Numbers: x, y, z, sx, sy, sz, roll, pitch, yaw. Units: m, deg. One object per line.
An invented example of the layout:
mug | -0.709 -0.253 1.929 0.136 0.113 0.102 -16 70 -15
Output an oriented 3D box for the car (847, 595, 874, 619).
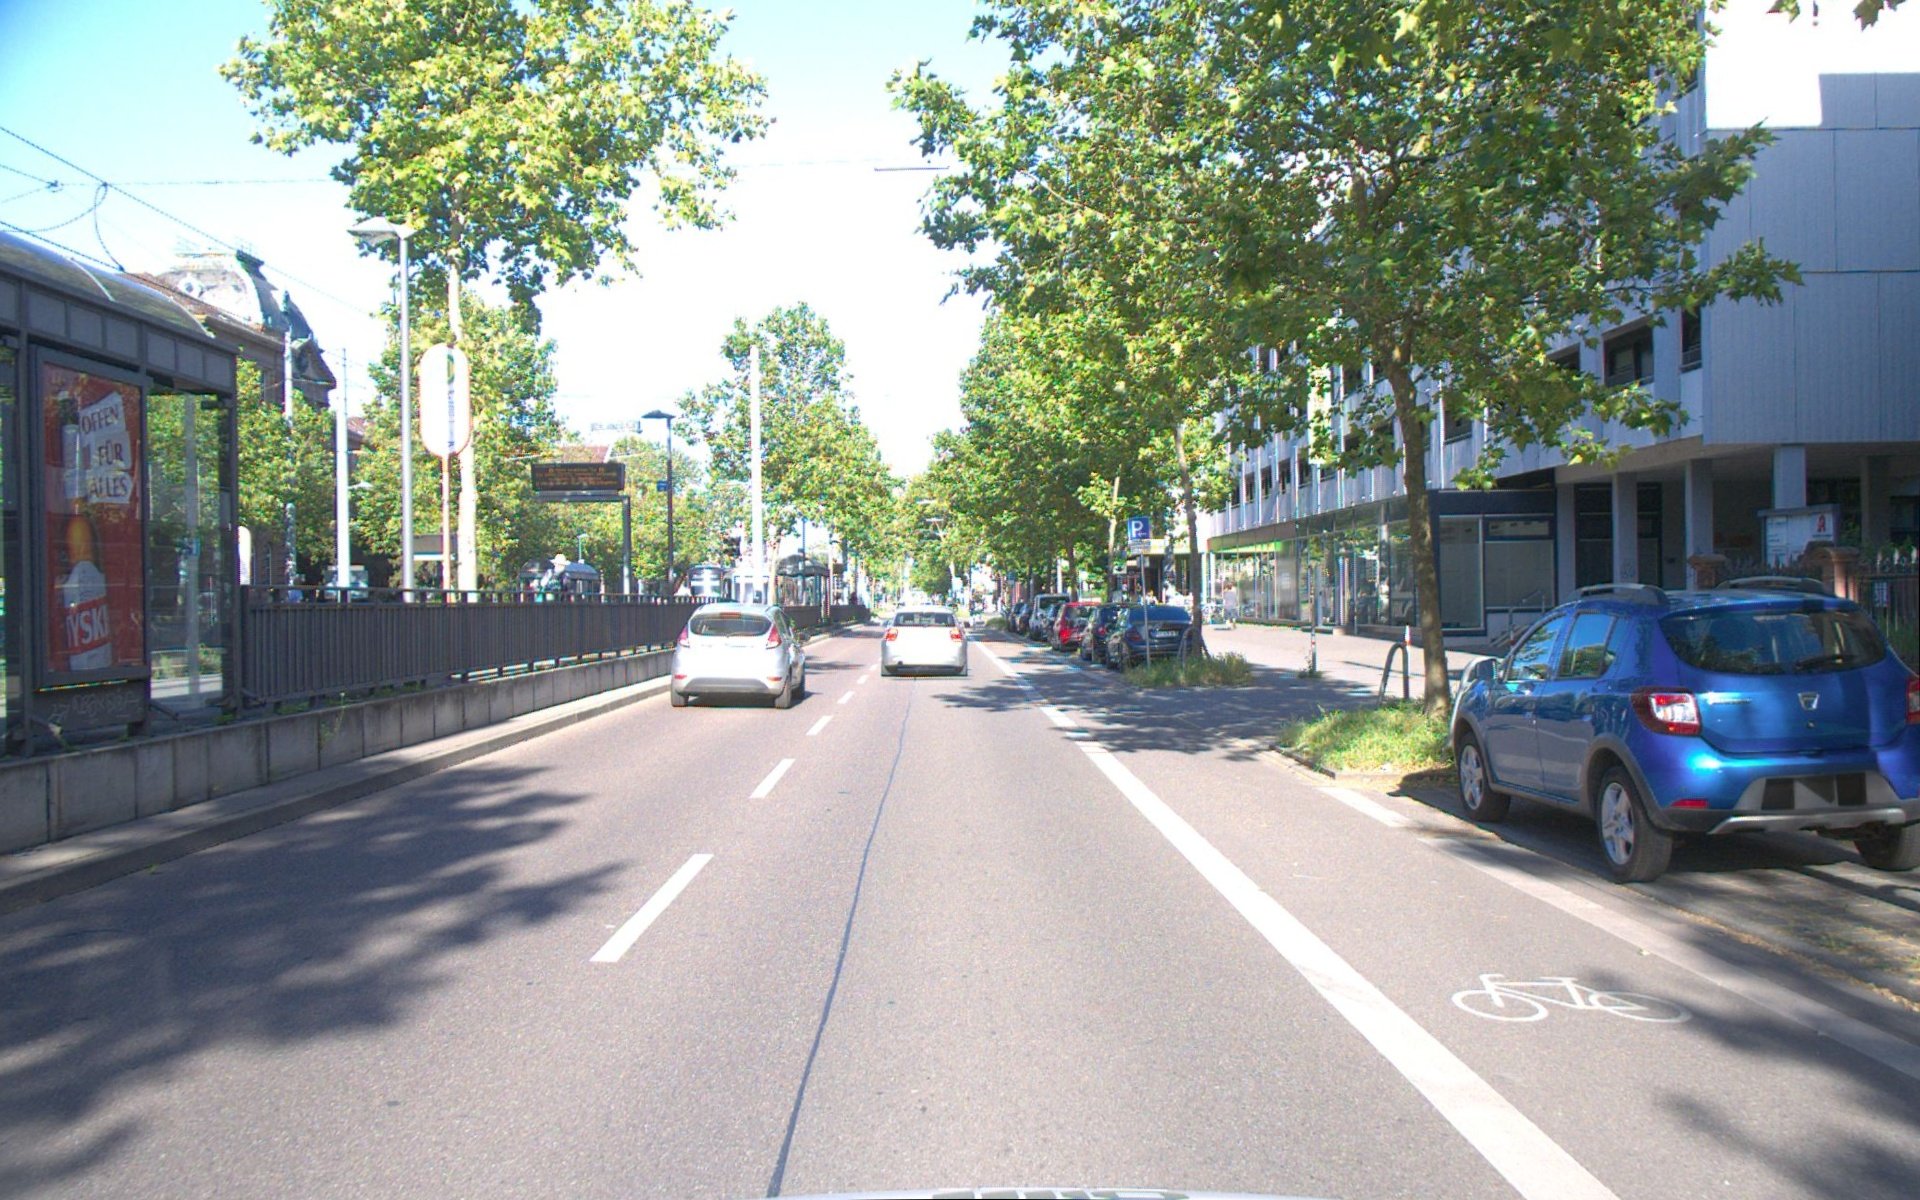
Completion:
car | -8.087 0.578 135.107 1.953 1.848 4.000 1 1 -1

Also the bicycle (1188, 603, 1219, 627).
bicycle | 11.191 0.671 75.976 1.355 1.077 0.243 1 0 -2

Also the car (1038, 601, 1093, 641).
car | 3.899 0.765 61.647 1.744 1.405 3.999 1 0 -1

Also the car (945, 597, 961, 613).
car | -0.885 0.584 213.215 2.029 2.049 3.999 0 0 -1

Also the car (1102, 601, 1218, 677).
car | 4.341 0.827 36.609 1.953 1.535 4.597 1 -1 -1

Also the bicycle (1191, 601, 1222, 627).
bicycle | 11.227 0.628 75.333 1.355 1.168 0.243 1 0 -2

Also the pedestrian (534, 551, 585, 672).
pedestrian | -6.743 0.184 27.868 0.626 1.988 0.813 1 0 -1

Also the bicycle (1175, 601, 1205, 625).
bicycle | 10.862 0.603 78.071 1.355 1.117 0.243 1 0 -2

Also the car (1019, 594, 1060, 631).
car | 3.646 0.571 76.453 1.676 1.590 4.000 1 1 -1

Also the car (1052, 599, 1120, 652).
car | 3.924 0.780 51.971 1.769 1.547 3.999 1 0 -1

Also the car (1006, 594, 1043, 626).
car | 3.245 0.488 83.743 1.666 1.561 3.716 1 1 -1

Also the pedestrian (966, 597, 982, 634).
pedestrian | 0.783 0.860 92.102 0.820 2.049 0.649 1 0 6

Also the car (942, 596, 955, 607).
car | -1.672 0.196 250.138 1.953 1.728 3.999 0 0 -1

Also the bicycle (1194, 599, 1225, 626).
bicycle | 11.258 0.575 74.633 1.355 1.168 0.243 1 0 -2

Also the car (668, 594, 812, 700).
car | -3.152 0.629 24.300 1.613 1.386 3.759 1 1 0

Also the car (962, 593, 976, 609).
car | 1.193 0.126 223.951 1.837 2.049 3.711 1 1 -1

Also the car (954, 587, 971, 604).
car | 0.318 -0.560 200.979 1.953 2.049 3.999 -1 0 -1

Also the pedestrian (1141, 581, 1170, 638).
pedestrian | 7.176 0.347 60.701 0.944 2.049 0.938 0 0 -1

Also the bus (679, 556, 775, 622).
bus | -14.432 -0.721 105.166 2.810 3.692 24.600 0 0 0

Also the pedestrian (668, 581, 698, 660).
pedestrian | -7.145 0.523 42.676 0.626 1.988 0.813 1 0 -1

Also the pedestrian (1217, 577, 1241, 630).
pedestrian | 10.527 0.132 64.686 0.772 2.049 0.890 0 0 0

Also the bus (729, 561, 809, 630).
bus | -11.193 -0.322 98.855 2.694 3.689 18.845 0 0 0

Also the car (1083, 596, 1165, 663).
car | 4.126 0.713 42.163 1.635 1.578 4.000 1 1 -1

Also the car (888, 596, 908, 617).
car | -6.609 0.682 176.974 1.953 2.049 4.000 1 1 -1

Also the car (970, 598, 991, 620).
car | 1.975 0.911 163.755 1.953 2.049 4.000 1 1 -1

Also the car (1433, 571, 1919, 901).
car | 4.468 0.668 10.591 1.657 1.687 4.039 -1 1 -1

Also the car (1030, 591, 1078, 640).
car | 3.807 0.605 67.477 1.689 1.913 3.999 1 0 -1

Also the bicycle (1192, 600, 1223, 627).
bicycle | 11.225 0.609 74.994 1.355 1.168 0.243 1 0 -2

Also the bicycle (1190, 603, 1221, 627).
bicycle | 11.233 0.672 75.650 1.355 1.074 0.243 1 0 -2

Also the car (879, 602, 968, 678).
car | -0.774 0.794 34.509 1.726 1.457 3.999 1 0 -2
